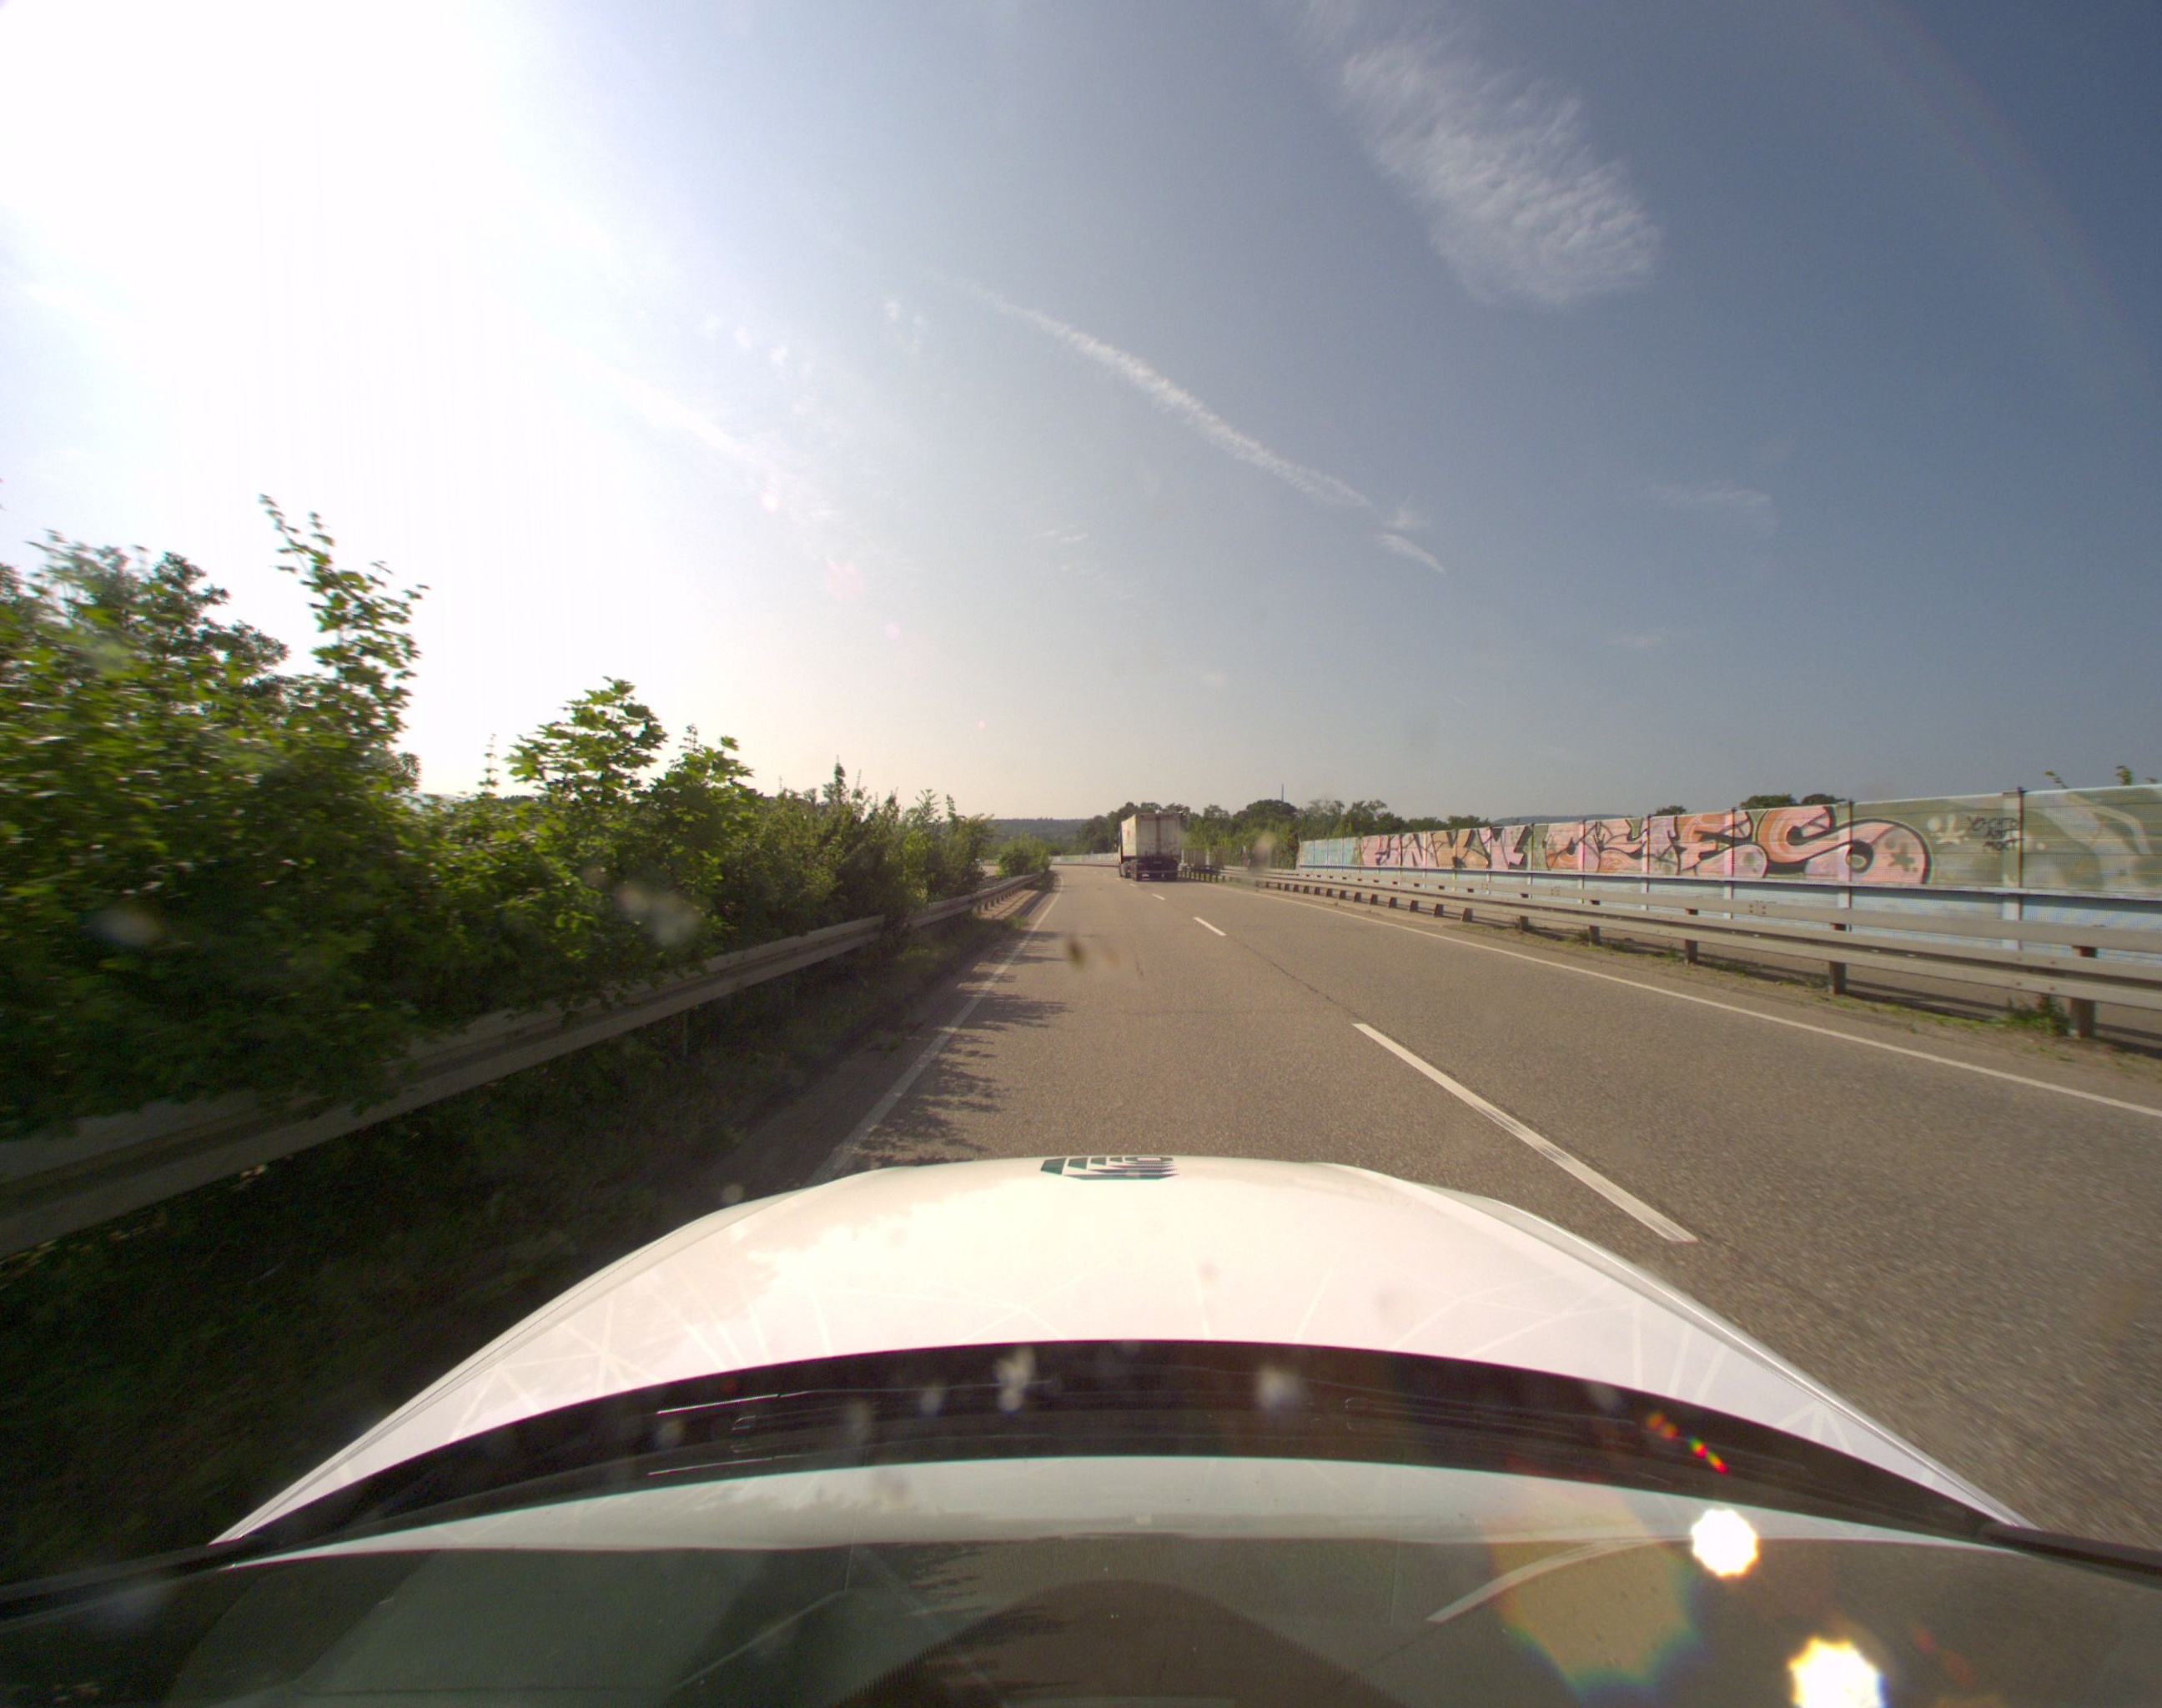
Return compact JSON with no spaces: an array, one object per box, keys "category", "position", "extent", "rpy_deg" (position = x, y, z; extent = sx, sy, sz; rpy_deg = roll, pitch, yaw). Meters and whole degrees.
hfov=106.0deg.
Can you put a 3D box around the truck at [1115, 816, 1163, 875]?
[{"category":"truck","position":[3.931,-0.574,56.143],"extent":[2.652,3.896,5.642],"rpy_deg":[0,0,-3]}]

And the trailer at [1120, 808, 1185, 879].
[{"category":"trailer","position":[4.215,-0.578,50.076],"extent":[2.673,3.907,9.663],"rpy_deg":[-1,0,-3]}]
